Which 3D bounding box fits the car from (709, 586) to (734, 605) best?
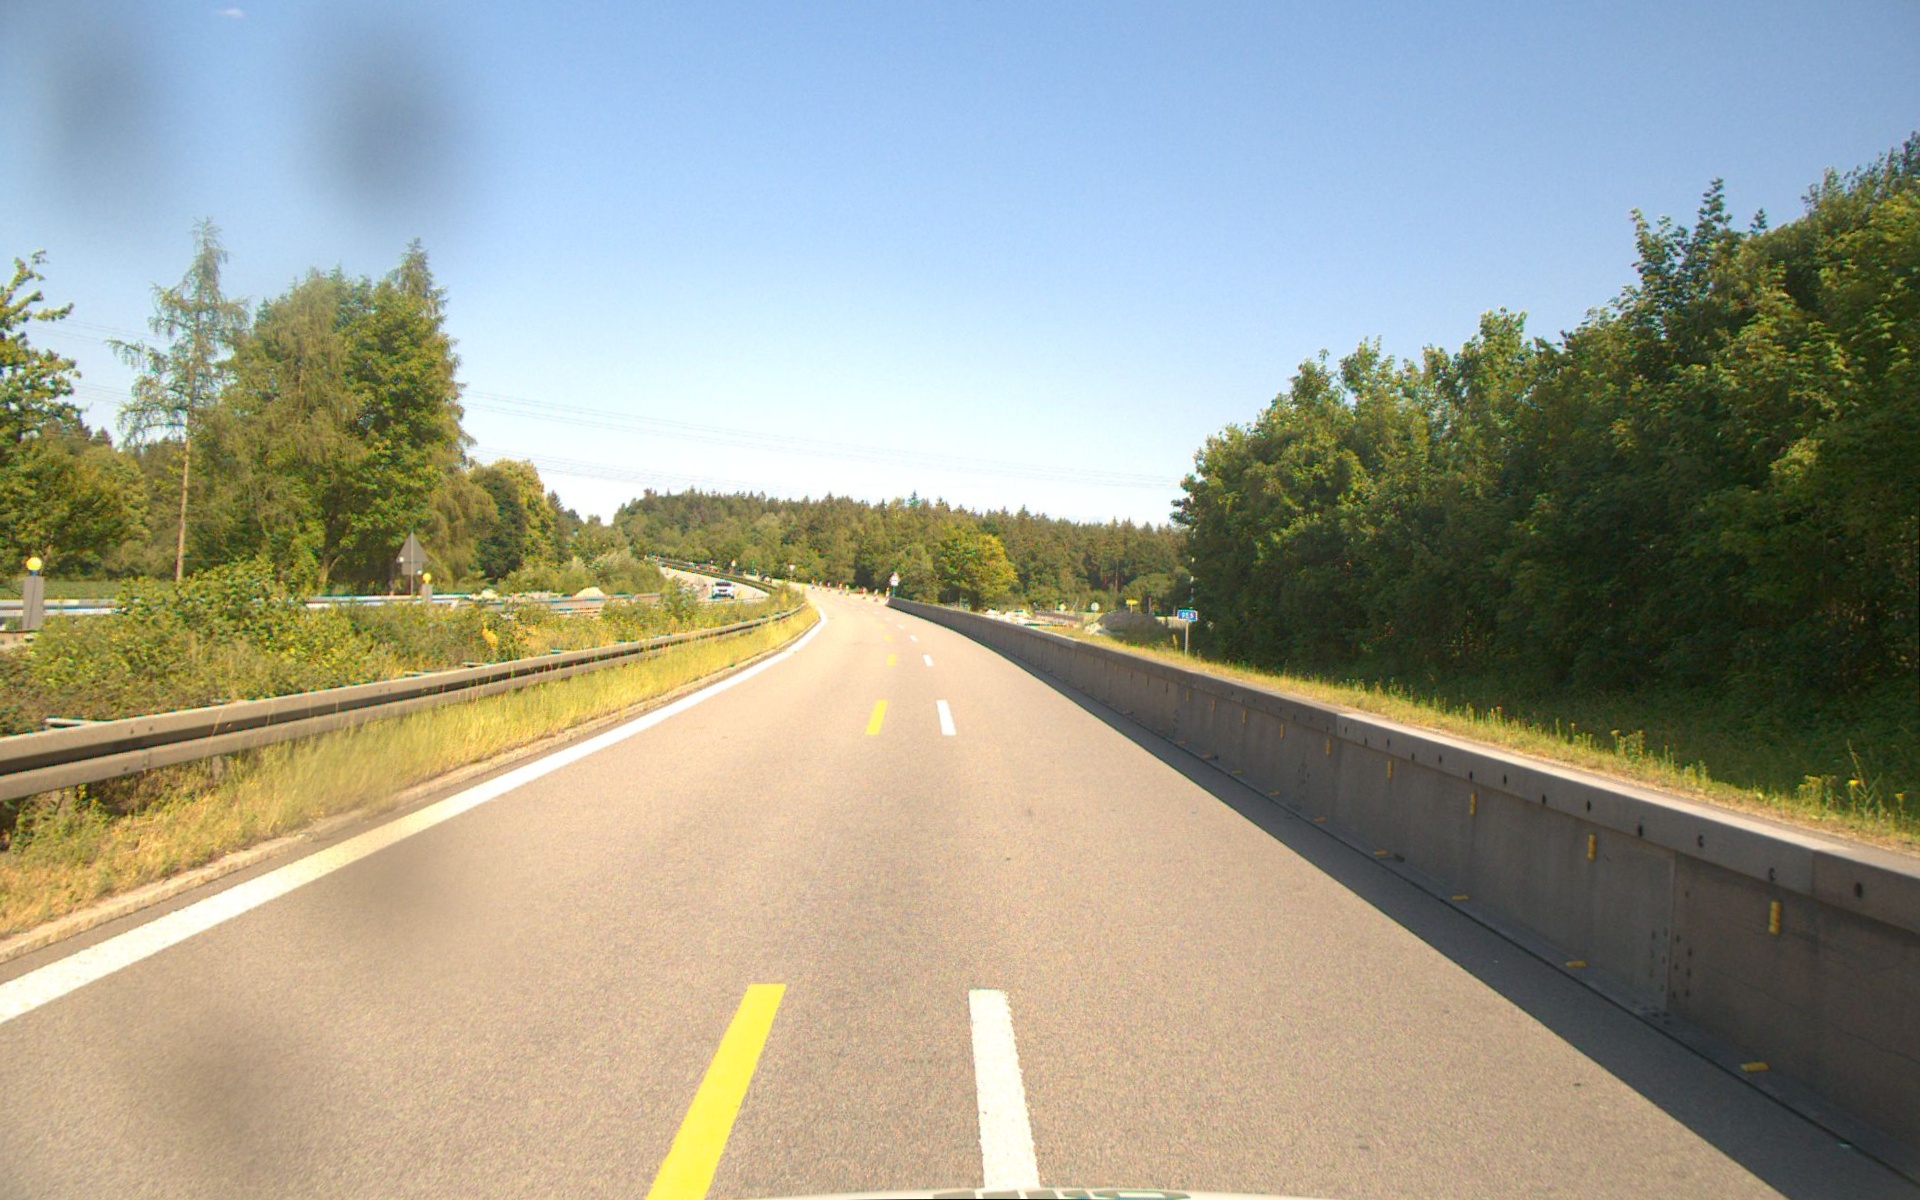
[{"bbox_3d":[-20.001,-0.390,138.698,1.725,1.538,4.530,1,0,-5],"label":"car"}]
